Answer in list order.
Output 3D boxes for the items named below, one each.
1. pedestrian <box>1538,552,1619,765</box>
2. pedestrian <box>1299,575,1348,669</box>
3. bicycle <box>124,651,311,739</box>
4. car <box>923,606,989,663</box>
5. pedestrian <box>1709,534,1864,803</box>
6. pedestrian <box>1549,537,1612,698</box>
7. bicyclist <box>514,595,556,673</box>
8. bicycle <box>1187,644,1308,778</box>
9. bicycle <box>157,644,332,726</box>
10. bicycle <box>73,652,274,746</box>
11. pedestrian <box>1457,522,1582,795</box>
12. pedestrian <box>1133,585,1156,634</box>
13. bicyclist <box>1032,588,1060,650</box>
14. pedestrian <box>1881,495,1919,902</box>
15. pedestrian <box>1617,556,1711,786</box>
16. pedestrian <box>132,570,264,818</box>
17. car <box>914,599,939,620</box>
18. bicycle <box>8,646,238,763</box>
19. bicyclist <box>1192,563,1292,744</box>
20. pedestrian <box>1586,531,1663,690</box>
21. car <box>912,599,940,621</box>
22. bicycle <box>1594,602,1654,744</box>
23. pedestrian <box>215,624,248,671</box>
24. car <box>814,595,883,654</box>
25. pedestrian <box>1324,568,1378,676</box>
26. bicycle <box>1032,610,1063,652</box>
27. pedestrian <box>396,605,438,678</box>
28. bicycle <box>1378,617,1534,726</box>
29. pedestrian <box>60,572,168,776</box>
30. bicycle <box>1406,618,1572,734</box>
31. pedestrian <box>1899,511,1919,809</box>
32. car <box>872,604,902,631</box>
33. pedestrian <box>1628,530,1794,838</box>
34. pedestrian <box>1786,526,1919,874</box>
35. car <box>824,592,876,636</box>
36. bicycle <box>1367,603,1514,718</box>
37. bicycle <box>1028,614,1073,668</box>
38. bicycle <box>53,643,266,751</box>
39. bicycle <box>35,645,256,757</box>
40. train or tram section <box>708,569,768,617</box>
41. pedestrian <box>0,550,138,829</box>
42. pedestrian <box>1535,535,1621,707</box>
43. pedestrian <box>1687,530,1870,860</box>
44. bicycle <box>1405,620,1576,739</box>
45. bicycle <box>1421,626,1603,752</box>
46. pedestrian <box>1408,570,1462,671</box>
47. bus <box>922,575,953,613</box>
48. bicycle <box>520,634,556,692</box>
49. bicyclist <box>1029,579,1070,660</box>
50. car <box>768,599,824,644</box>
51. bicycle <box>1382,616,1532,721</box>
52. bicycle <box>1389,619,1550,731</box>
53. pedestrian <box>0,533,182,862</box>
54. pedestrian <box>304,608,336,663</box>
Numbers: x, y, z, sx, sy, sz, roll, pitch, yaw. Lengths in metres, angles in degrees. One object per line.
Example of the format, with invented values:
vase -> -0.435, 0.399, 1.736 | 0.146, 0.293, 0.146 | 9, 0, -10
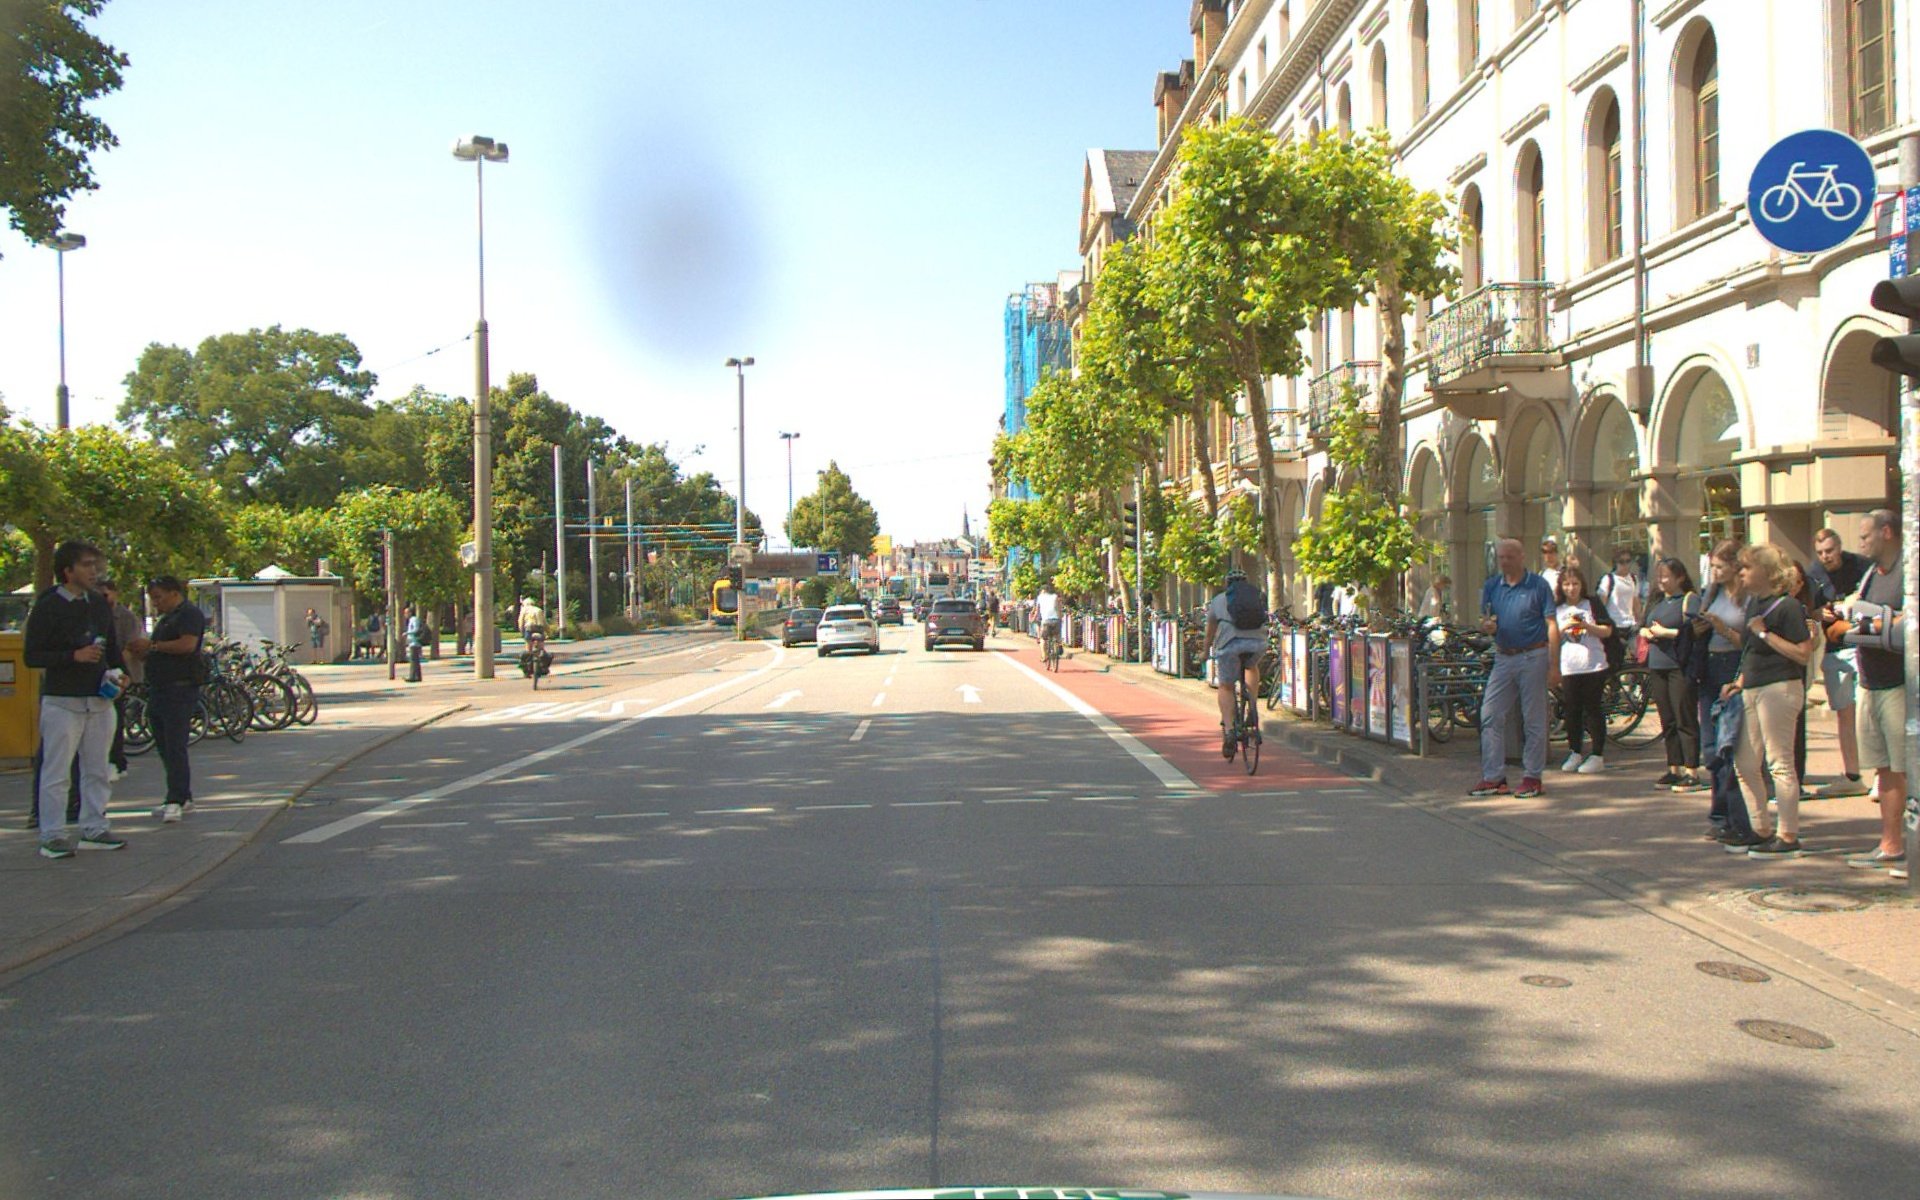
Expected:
pedestrian -> 4.928, 0.450, 13.161 | 0.519, 1.622, 0.611 | -1, 3, 25
pedestrian -> 6.279, 0.379, 28.566 | 0.662, 1.600, 0.611 | -1, 0, -3
bicycle -> -9.436, 1.202, 21.101 | 2.046, 0.997, 0.682 | -2, 0, -13
car -> -0.165, 1.009, 50.400 | 1.808, 1.586, 3.998 | 1, 1, -3
pedestrian -> 5.572, 0.441, 11.164 | 0.603, 1.735, 0.671 | -2, 0, -29
pedestrian -> 7.165, 0.201, 19.112 | 0.467, 1.823, 0.612 | -1, 0, -1
bicyclist -> -8.540, 0.668, 33.281 | 0.725, 1.529, 1.049 | -1, 0, -11
bicycle -> 2.470, 0.927, 14.415 | 0.617, 0.997, 2.088 | -1, 0, -2
bicycle -> -9.612, 1.131, 22.288 | 2.046, 0.997, 0.682 | -2, 0, -13
bicycle -> -9.420, 1.175, 19.877 | 2.046, 0.997, 0.682 | -2, 0, -13
pedestrian -> 4.111, 0.421, 12.136 | 0.674, 1.930, 0.611 | -4, 0, 25
pedestrian -> 6.206, 0.318, 55.761 | 0.662, 1.600, 0.611 | -1, 0, -3
bicyclist -> 2.243, 0.490, 43.297 | 0.634, 1.578, 0.817 | -1, 0, -2
pedestrian -> 4.661, 0.445, 7.451 | 0.598, 1.855, 0.677 | -1, 0, -3
pedestrian -> 5.144, 0.510, 12.073 | 0.519, 1.623, 0.611 | -4, -1, 25
pedestrian -> -5.400, 0.646, 11.732 | 0.605, 1.697, 0.591 | -1, 0, 28
car -> -2.527, 0.685, 123.333 | 1.808, 1.438, 3.999 | -1, 0, -2
bicycle -> -8.848, 1.093, 17.560 | 2.046, 1.108, 0.682 | -2, 0, -13
bicyclist -> 2.458, 0.444, 14.504 | 0.617, 1.507, 1.198 | -1, 0, -2
pedestrian -> 7.778, 0.124, 19.366 | 0.615, 1.823, 0.612 | -1, 0, -1
car -> -2.349, 0.649, 113.230 | 1.808, 1.438, 3.999 | -1, 0, -2
bicycle -> 5.823, 0.613, 14.528 | 0.391, 1.133, 1.426 | -2, 1, 19
pedestrian -> -21.634, 1.400, 49.136 | 0.640, 1.359, 0.712 | -1, 0, 0
car -> -3.298, 0.710, 49.634 | 1.808, 1.587, 3.999 | -2, 1, -1
pedestrian -> 6.246, 0.344, 26.448 | 0.662, 1.694, 0.611 | -1, 0, -3
bicycle -> 2.258, 0.795, 43.001 | 0.634, 1.015, 2.030 | -1, 0, -1
pedestrian -> -12.506, 0.950, 38.110 | 0.755, 1.657, 0.611 | -1, 0, -2
bicycle -> 4.939, 0.705, 16.508 | 1.391, 0.997, 0.445 | -2, 1, -1
pedestrian -> -7.502, 0.643, 14.689 | 0.598, 1.755, 0.677 | -1, 0, -3
bicycle -> 4.969, 0.709, 15.561 | 1.391, 0.997, 0.445 | -2, 1, -1
pedestrian -> 6.223, 0.366, 10.054 | 0.598, 1.838, 0.677 | -1, 0, -3
car -> -4.532, 1.109, 103.655 | 1.808, 1.587, 3.999 | -1, 0, -2
pedestrian -> 4.440, 0.480, 9.807 | 0.571, 1.729, 0.605 | -4, 0, -3
pedestrian -> 4.757, 0.486, 8.521 | 0.571, 1.702, 0.605 | -4, 0, -3
car -> -4.156, 0.517, 62.896 | 1.808, 1.587, 3.998 | -1, 0, -2
bicycle -> 5.037, 0.628, 17.372 | 1.391, 1.133, 0.401 | -2, 1, -1
bicycle -> 1.886, 0.831, 34.670 | 0.759, 1.023, 2.329 | -1, 1, -1
bicycle -> -9.105, 1.085, 18.881 | 2.046, 1.108, 0.682 | -2, 0, -13
bicycle -> -8.941, 1.092, 18.234 | 2.046, 1.108, 0.682 | -2, 0, -13
train or tram section -> -16.606, -0.562, 124.391 | 2.558, 3.406, 11.006 | -1, 0, 2
pedestrian -> -6.185, 0.597, 11.432 | 0.605, 1.855, 0.663 | -1, 0, 28
pedestrian -> 6.730, 0.224, 18.029 | 0.662, 1.823, 0.612 | -1, 0, -1
pedestrian -> 4.454, 0.499, 9.033 | 0.571, 1.702, 0.605 | -4, 0, -3
bicycle -> 4.829, 0.717, 15.096 | 1.391, 0.997, 0.445 | -2, 1, -1
bicycle -> 4.751, 0.760, 14.273 | 1.391, 0.997, 0.445 | -2, 1, -1
pedestrian -> 7.720, 0.331, 26.905 | 0.662, 1.600, 0.611 | -1, 0, -3
bus -> -2.395, -0.604, 169.132 | 2.934, 3.657, 11.740 | -1, 0, -2
bicycle -> -8.406, 1.238, 32.918 | 0.666, 1.044, 1.960 | -1, 0, -15
bicyclist -> 1.873, 0.394, 34.648 | 0.759, 1.663, 0.851 | -1, 0, -1
car -> -6.162, 0.783, 62.587 | 1.808, 1.587, 3.998 | -1, 0, -2
bicycle -> 5.084, 0.697, 16.947 | 1.391, 0.997, 0.401 | -2, 1, -1
bicycle -> 4.927, 0.718, 16.015 | 1.391, 0.997, 0.445 | -2, 1, -1
pedestrian -> -5.172, 0.556, 9.849 | 0.620, 1.866, 0.730 | -1, 0, 28
pedestrian -> -20.564, 1.147, 53.136 | 0.695, 1.737, 0.656 | -1, 0, 14
